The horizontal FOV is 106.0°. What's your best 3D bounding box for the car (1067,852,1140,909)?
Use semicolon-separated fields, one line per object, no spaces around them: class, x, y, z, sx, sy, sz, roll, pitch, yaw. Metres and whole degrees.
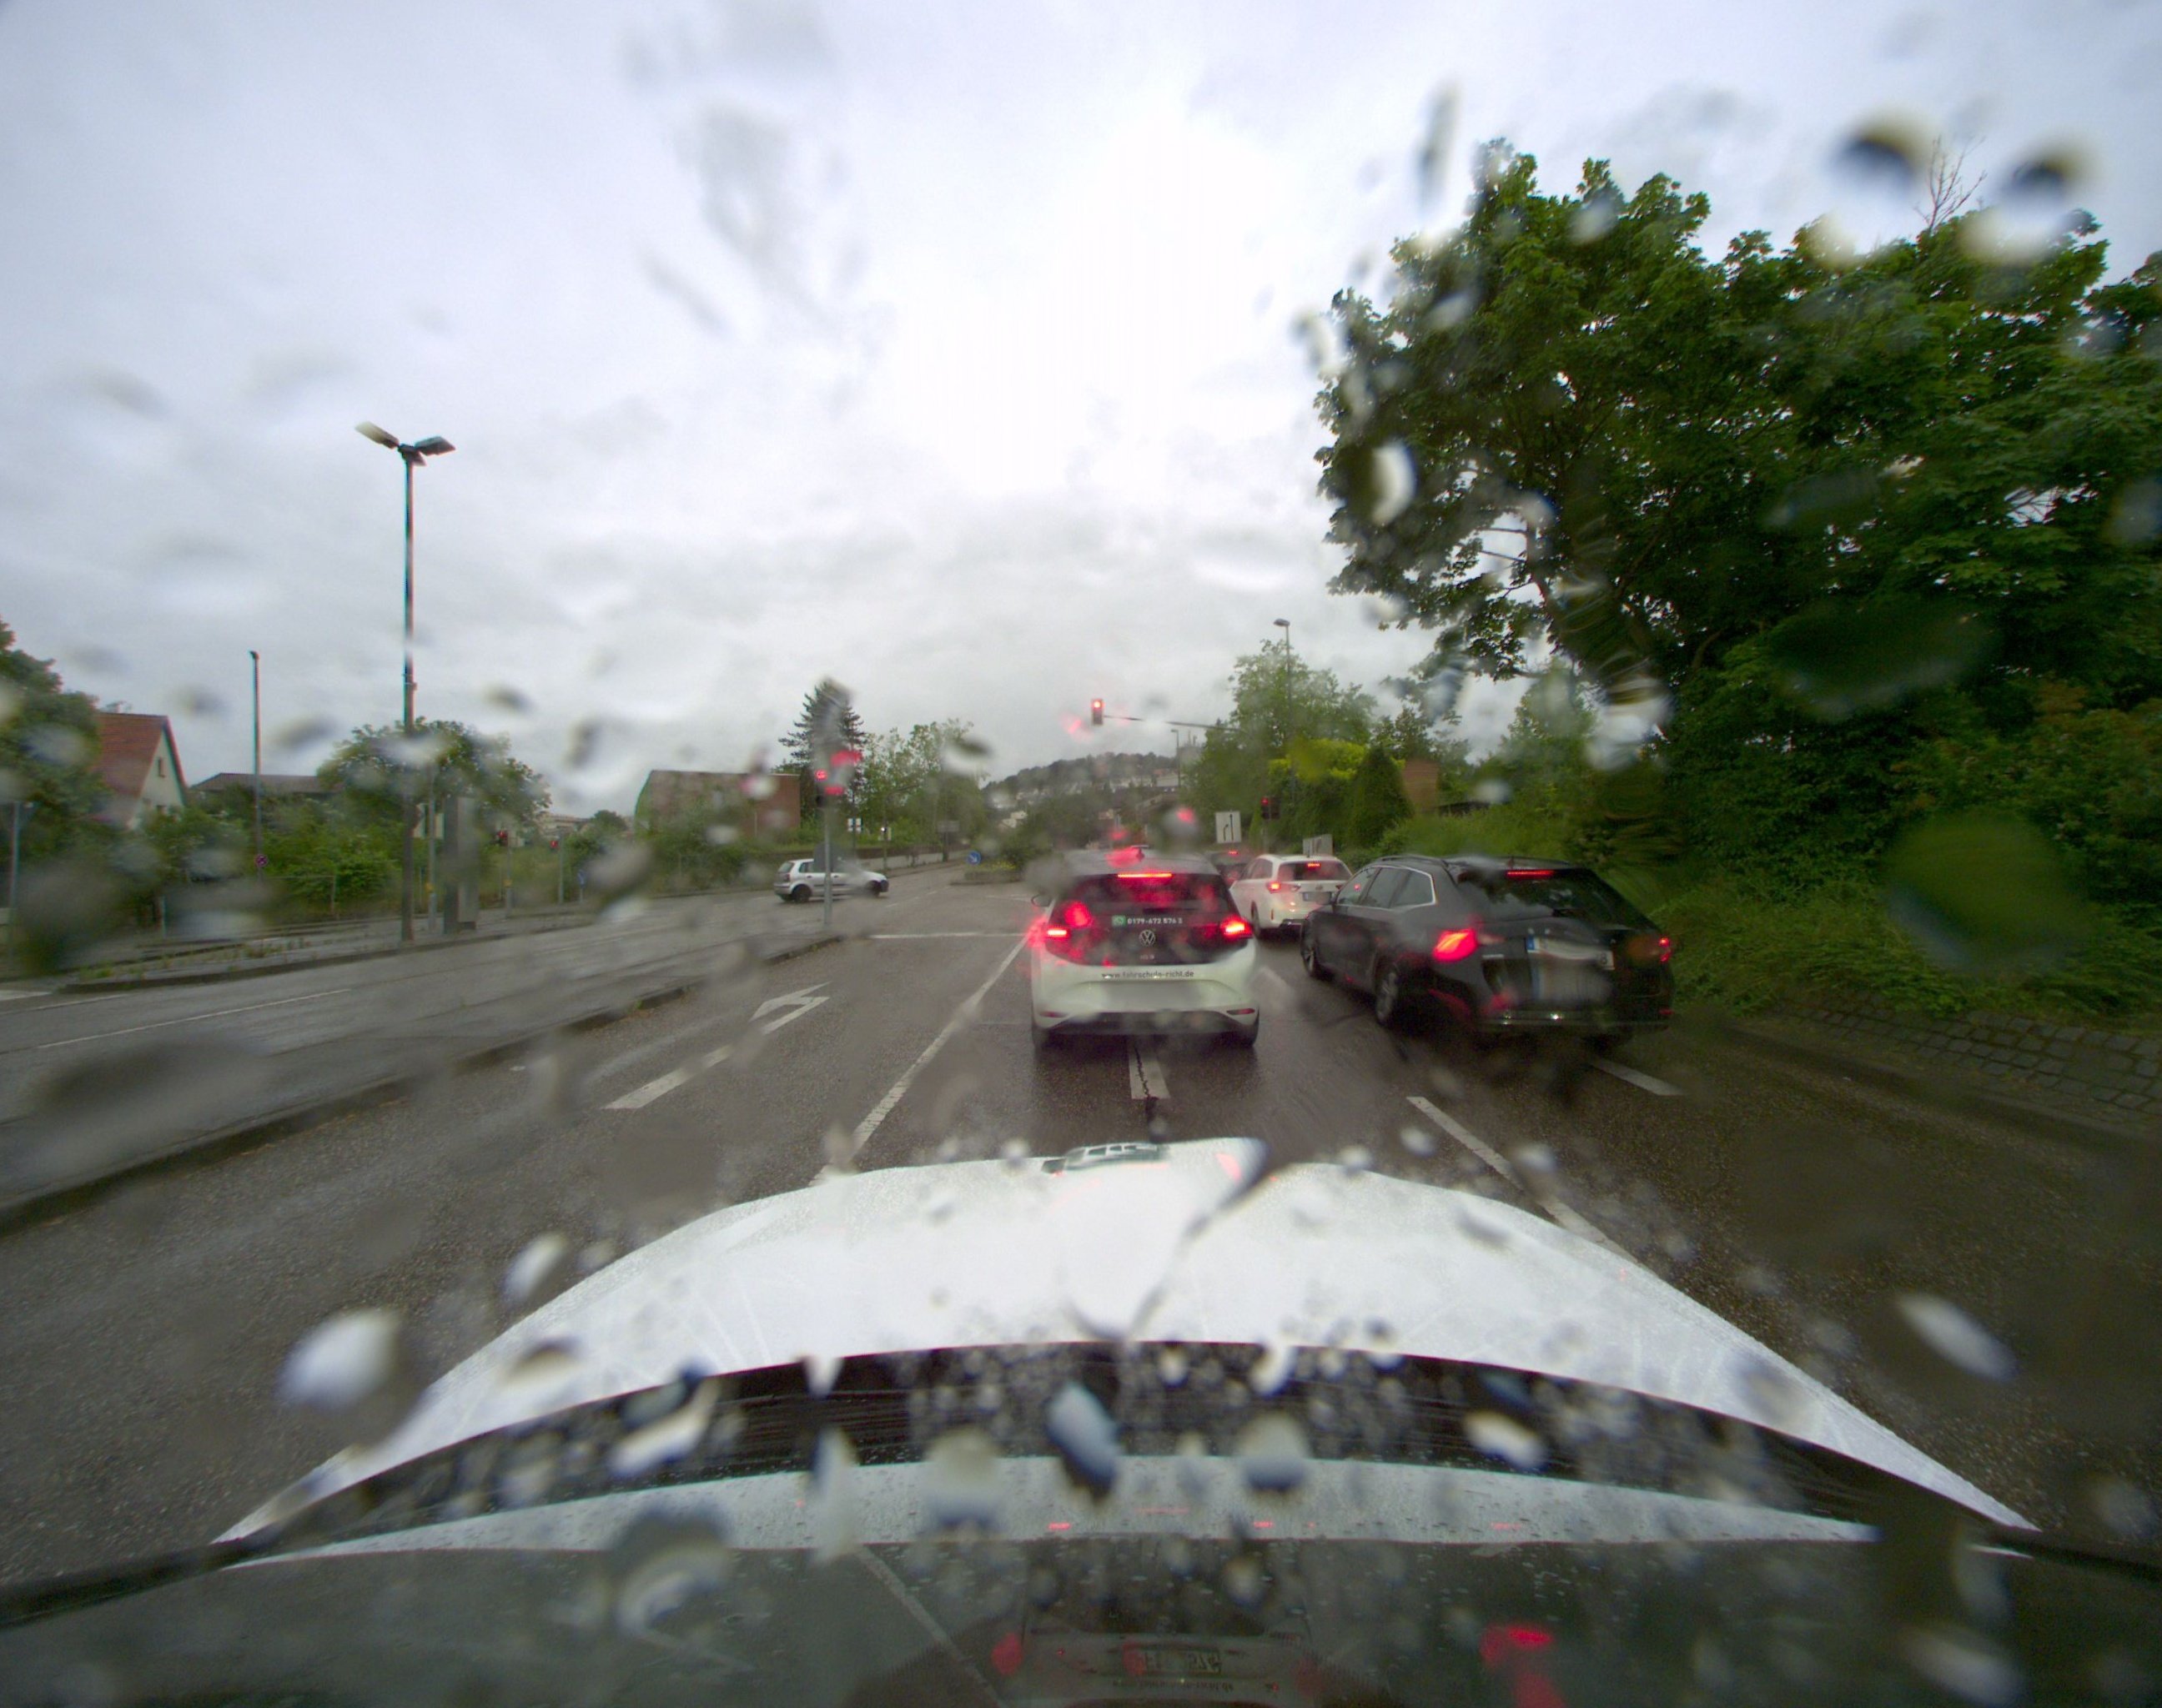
car;0.603;0.649;22.167;1.831;1.400;3.832;0;0;1

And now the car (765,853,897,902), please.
car;-8.625;0.788;28.248;4.018;1.467;1.568;-2;-1;-37

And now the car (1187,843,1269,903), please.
car;4.119;0.513;23.372;1.769;1.581;4.002;0;0;2

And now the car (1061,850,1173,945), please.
car;0.635;0.697;15.341;1.831;1.555;4.176;0;0;1

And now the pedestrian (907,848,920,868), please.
pedestrian;-13.125;0.313;63.943;0.757;1.568;0.825;-4;0;1

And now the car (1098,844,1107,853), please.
car;4.225;-1.132;159.606;1.769;1.581;4.002;-3;0;2

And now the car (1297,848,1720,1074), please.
car;3.369;0.682;7.509;1.830;1.466;4.353;0;0;3

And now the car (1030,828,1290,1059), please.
car;0.609;0.616;8.050;1.831;1.629;4.617;0;0;1

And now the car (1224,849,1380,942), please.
car;3.876;0.647;15.005;1.831;1.466;4.118;0;0;1

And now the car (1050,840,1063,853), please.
car;-4.152;-1.258;140.557;1.986;2.014;4.002;-1;-1;2

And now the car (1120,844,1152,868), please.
car;3.524;0.081;52.651;1.755;1.418;3.748;-3;0;0
